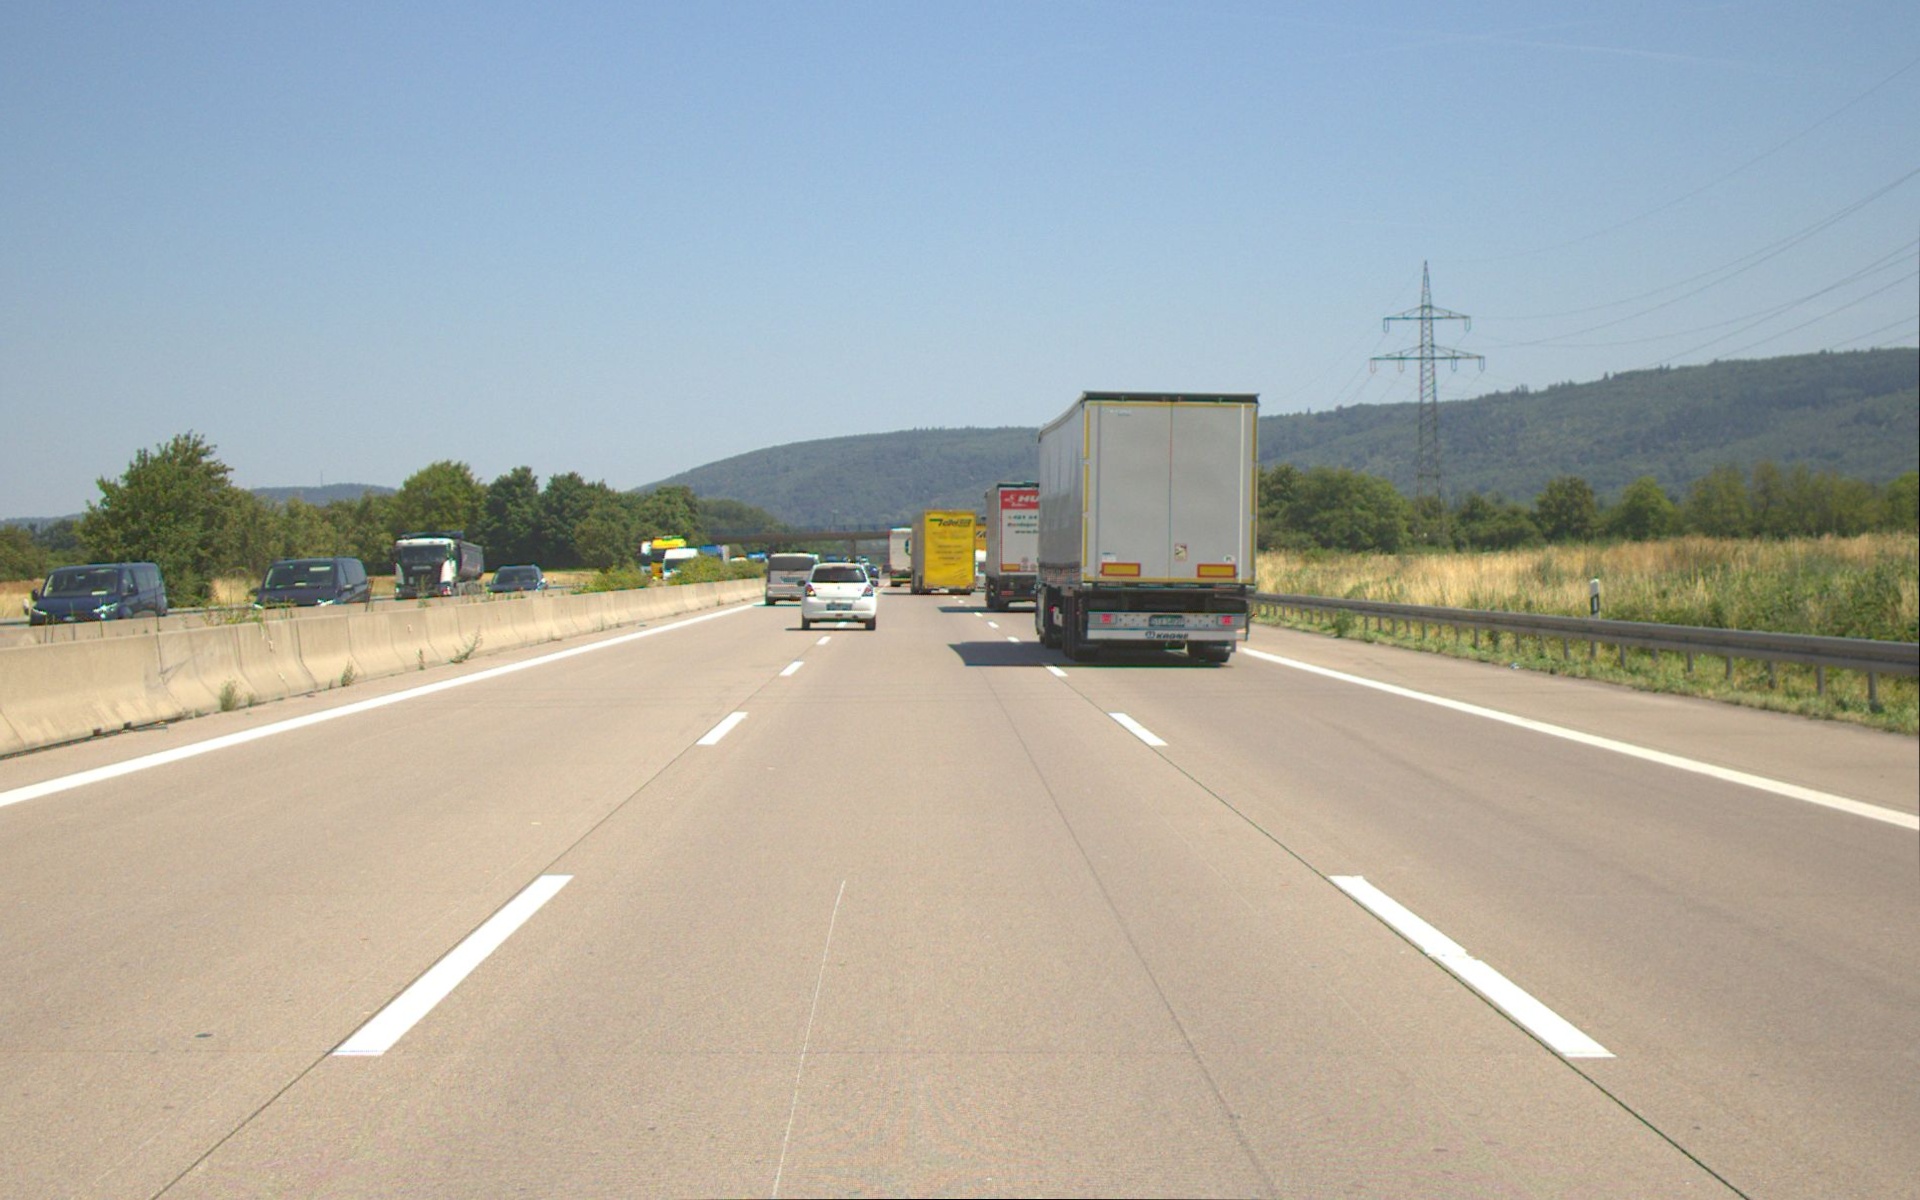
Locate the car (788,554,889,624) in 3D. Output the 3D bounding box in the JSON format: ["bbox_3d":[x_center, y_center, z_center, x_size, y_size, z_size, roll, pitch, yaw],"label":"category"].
[{"bbox_3d":[-2.756,-0.281,78.652,2.107,1.530,4.122,1,1,1],"label":"car"}]

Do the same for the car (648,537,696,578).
[{"bbox_3d":[-16.012,-2.366,191.516,2.210,2.181,6.326,1,1,-1],"label":"car"}]

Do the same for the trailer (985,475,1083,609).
[{"bbox_3d":[2.339,-1.871,112.627,2.874,4.086,13.513,1,1,0],"label":"trailer"}]

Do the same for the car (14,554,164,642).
[{"bbox_3d":[-18.565,-0.065,73.454,2.170,1.784,4.000,1,1,0],"label":"car"}]

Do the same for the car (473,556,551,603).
[{"bbox_3d":[-14.397,-0.669,110.671,1.993,1.443,4.683,1,1,-1],"label":"car"}]

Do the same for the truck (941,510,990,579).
[{"bbox_3d":[0.319,-3.538,219.992,2.999,4.299,9.684,1,1,-1],"label":"truck"}]

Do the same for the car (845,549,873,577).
[{"bbox_3d":[-6.877,-2.546,235.096,1.783,1.875,4.000,1,1,0],"label":"car"}]

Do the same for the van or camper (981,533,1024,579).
[{"bbox_3d":[2.372,-2.473,192.419,2.224,2.522,5.431,1,1,-1],"label":"van or camper"}]

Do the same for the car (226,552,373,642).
[{"bbox_3d":[-14.080,-0.103,73.617,1.993,1.820,5.825,1,1,0],"label":"car"}]

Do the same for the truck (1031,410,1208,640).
[{"bbox_3d":[2.886,-1.366,63.800,2.984,4.048,5.478,1,1,0],"label":"truck"}]

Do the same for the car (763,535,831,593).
[{"bbox_3d":[-5.871,-1.300,124.240,2.254,2.007,4.298,1,1,0],"label":"car"}]

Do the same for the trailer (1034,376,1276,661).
[{"bbox_3d":[2.951,-1.262,56.395,3.018,4.047,14.207,1,1,0],"label":"trailer"}]

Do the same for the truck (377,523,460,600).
[{"bbox_3d":[-23.764,-1.687,151.122,2.806,3.293,5.614,1,1,-1],"label":"truck"}]

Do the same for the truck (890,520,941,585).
[{"bbox_3d":[-2.999,-3.205,231.530,3.353,4.257,8.229,1,1,-1],"label":"truck"}]

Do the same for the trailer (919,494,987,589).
[{"bbox_3d":[-0.408,-2.930,173.647,3.216,4.548,13.457,1,1,-1],"label":"trailer"}]
